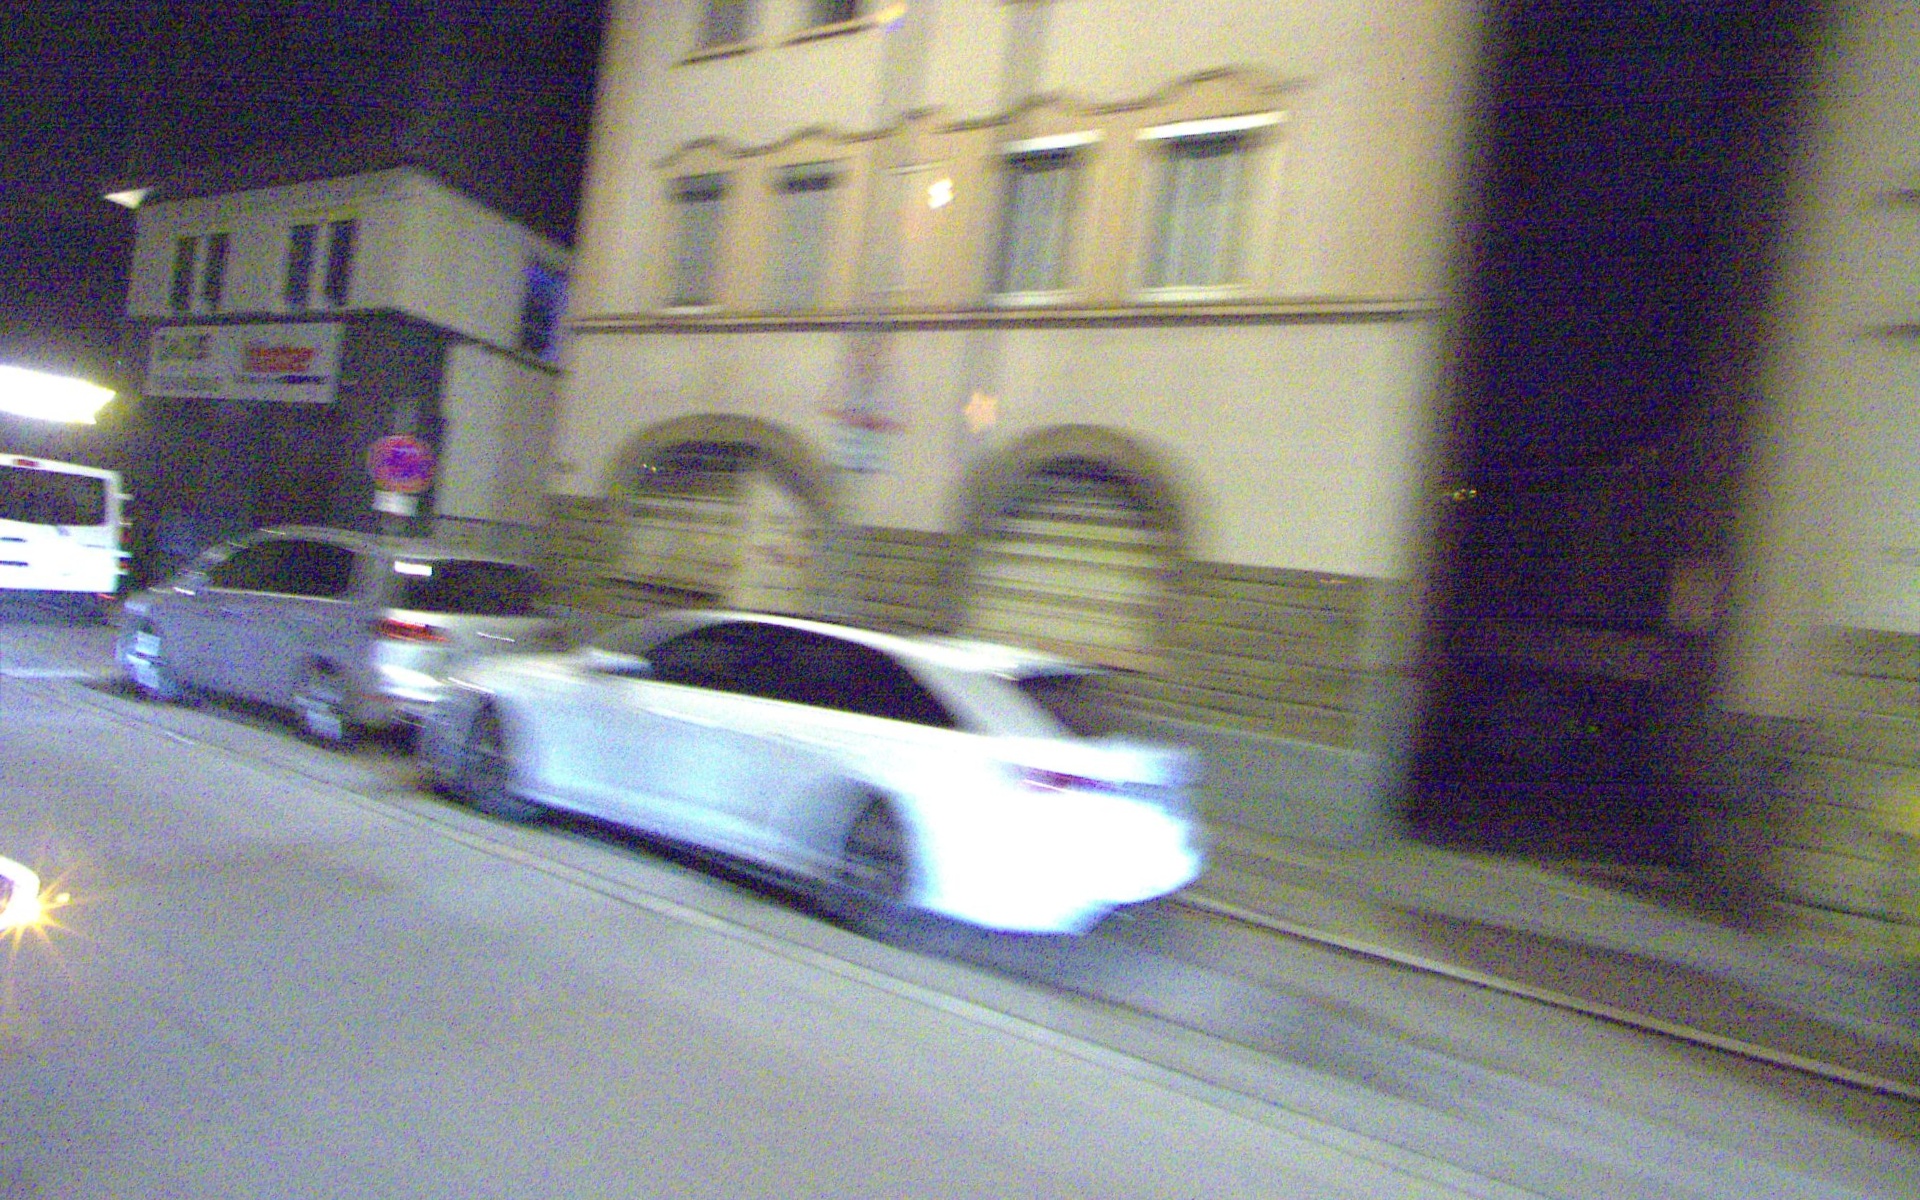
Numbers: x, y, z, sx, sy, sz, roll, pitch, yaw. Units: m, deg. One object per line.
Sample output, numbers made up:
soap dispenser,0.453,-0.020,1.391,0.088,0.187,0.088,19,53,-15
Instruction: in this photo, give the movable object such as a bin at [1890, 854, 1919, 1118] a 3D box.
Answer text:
movable object such as a bin,4.515,1.454,3.655,1.315,1.450,0.939,7,1,26

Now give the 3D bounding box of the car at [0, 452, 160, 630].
car,-12.895,-0.911,12.962,5.278,1.952,2.075,6,0,29

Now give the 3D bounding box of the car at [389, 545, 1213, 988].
car,-1.116,0.687,6.104,4.750,1.527,1.747,6,0,28

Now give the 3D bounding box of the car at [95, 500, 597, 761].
car,-5.322,0.166,8.628,4.138,1.585,1.747,6,0,28
